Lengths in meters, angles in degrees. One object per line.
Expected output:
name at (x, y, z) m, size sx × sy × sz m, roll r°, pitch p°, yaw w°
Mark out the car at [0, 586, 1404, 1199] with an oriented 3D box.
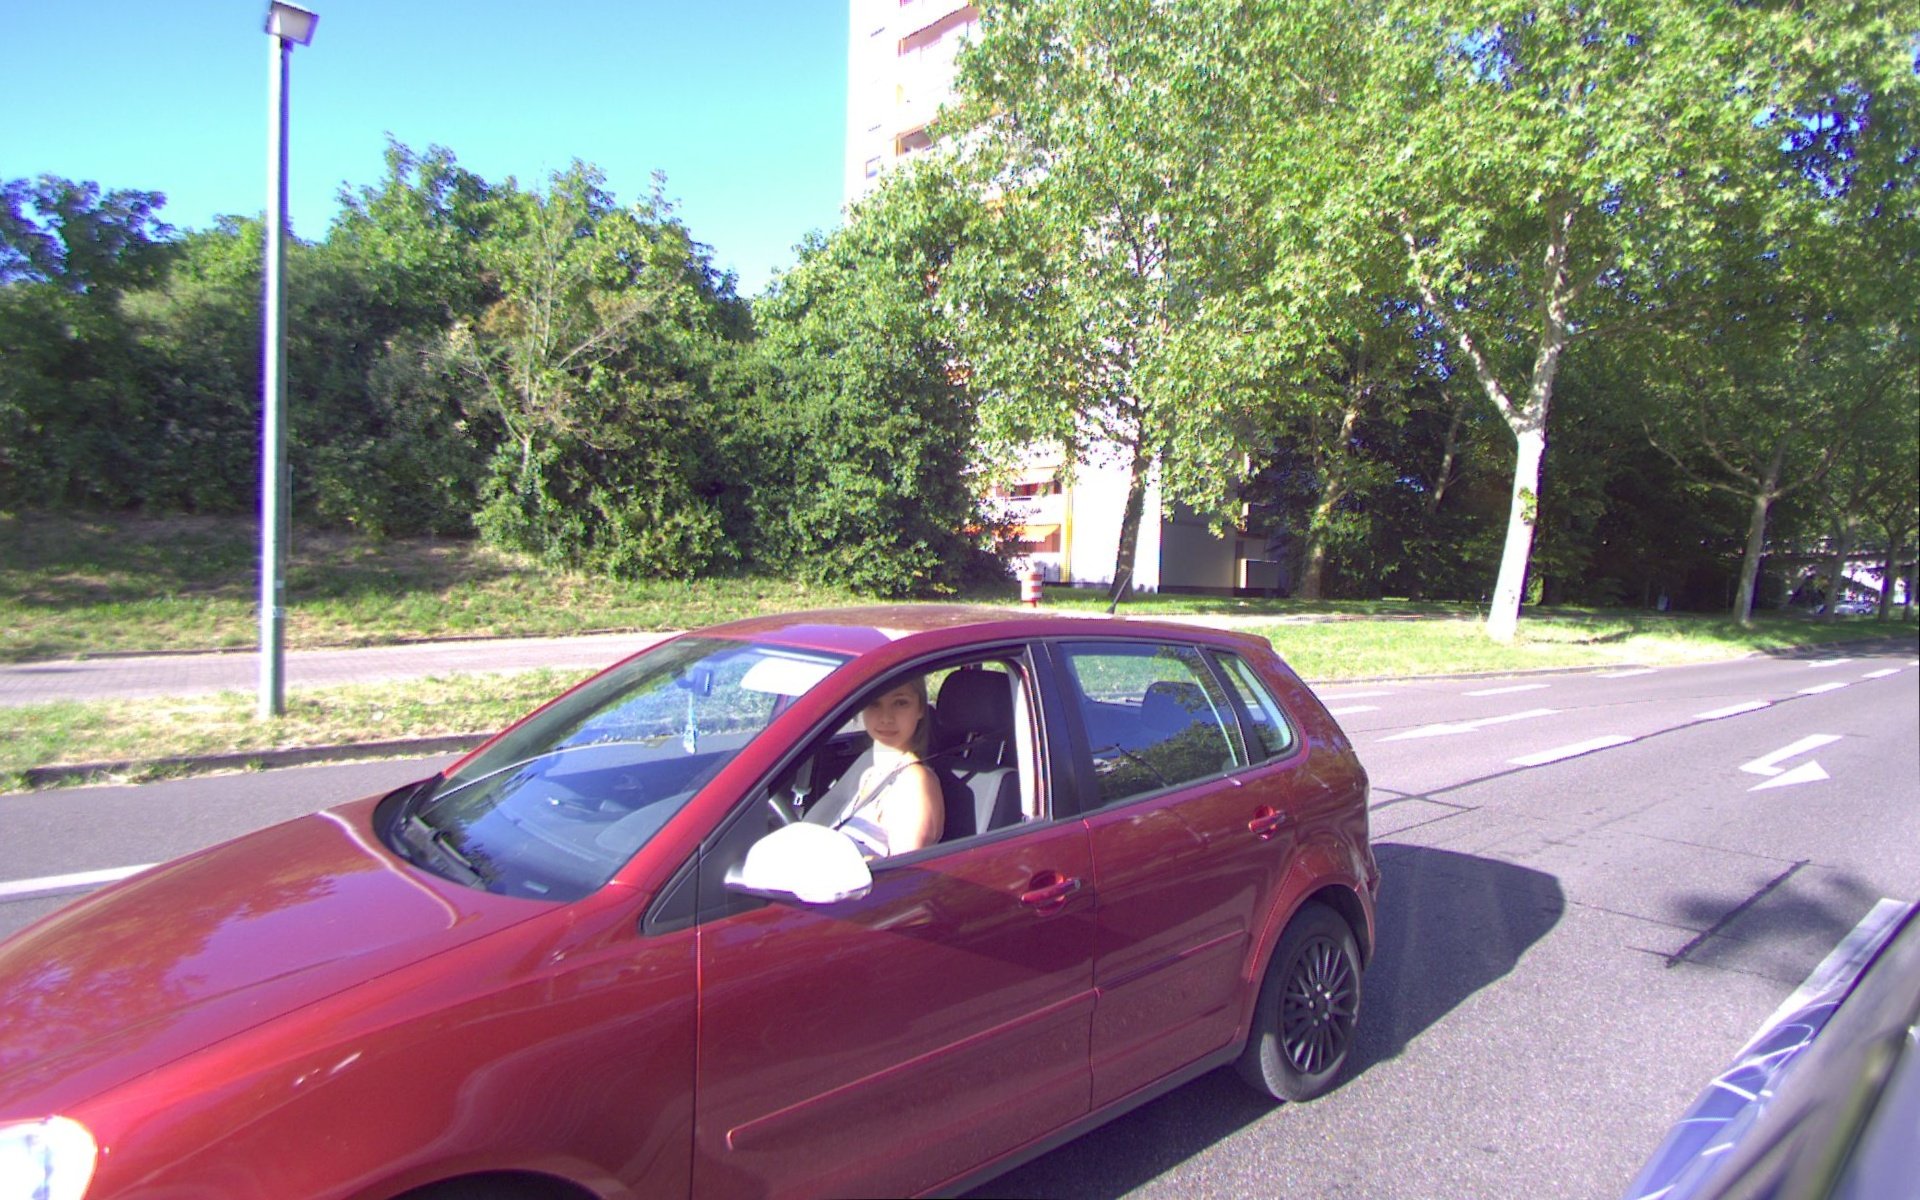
car at (-0.446, 0.711, 2.725) m, size 3.624 × 1.479 × 1.579 m, roll -1°, pitch 0°, yaw -40°
